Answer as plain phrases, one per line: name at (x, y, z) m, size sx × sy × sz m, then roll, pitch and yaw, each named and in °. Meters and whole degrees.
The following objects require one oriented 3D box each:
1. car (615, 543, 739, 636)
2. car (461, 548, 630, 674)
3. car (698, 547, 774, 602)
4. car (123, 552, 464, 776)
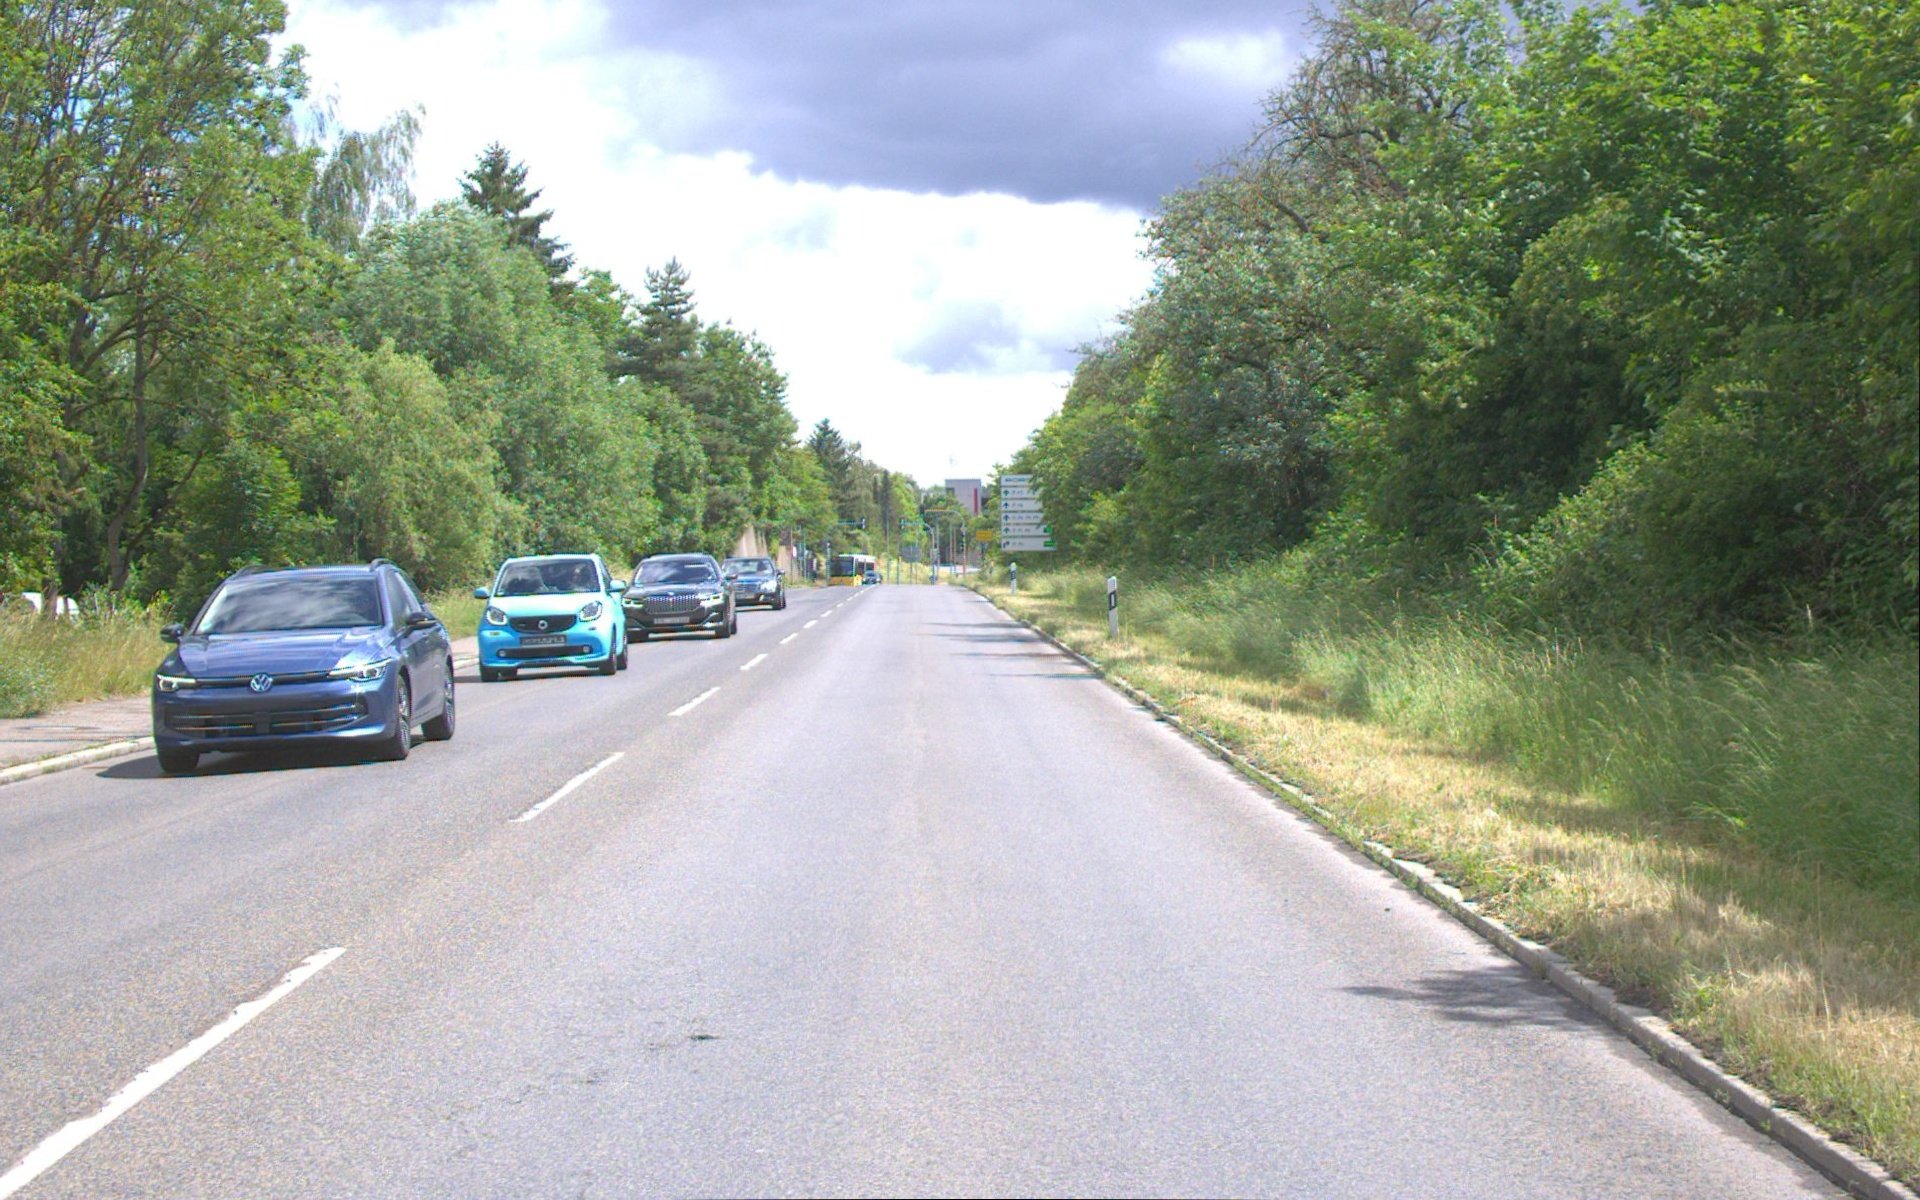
car at (-4.965, -0.215, 60.782) m, size 1.884 × 1.486 × 4.718 m, roll -3°, pitch 1°, yaw -2°
car at (-5.165, 0.110, 43.137) m, size 1.784 × 1.441 × 2.967 m, roll -3°, pitch 1°, yaw -2°
car at (-5.849, -0.690, 90.118) m, size 1.784 × 1.329 × 4.623 m, roll -3°, pitch 1°, yaw -2°
car at (-4.924, 0.411, 25.971) m, size 1.784 × 1.441 × 4.453 m, roll -3°, pitch 1°, yaw -2°
